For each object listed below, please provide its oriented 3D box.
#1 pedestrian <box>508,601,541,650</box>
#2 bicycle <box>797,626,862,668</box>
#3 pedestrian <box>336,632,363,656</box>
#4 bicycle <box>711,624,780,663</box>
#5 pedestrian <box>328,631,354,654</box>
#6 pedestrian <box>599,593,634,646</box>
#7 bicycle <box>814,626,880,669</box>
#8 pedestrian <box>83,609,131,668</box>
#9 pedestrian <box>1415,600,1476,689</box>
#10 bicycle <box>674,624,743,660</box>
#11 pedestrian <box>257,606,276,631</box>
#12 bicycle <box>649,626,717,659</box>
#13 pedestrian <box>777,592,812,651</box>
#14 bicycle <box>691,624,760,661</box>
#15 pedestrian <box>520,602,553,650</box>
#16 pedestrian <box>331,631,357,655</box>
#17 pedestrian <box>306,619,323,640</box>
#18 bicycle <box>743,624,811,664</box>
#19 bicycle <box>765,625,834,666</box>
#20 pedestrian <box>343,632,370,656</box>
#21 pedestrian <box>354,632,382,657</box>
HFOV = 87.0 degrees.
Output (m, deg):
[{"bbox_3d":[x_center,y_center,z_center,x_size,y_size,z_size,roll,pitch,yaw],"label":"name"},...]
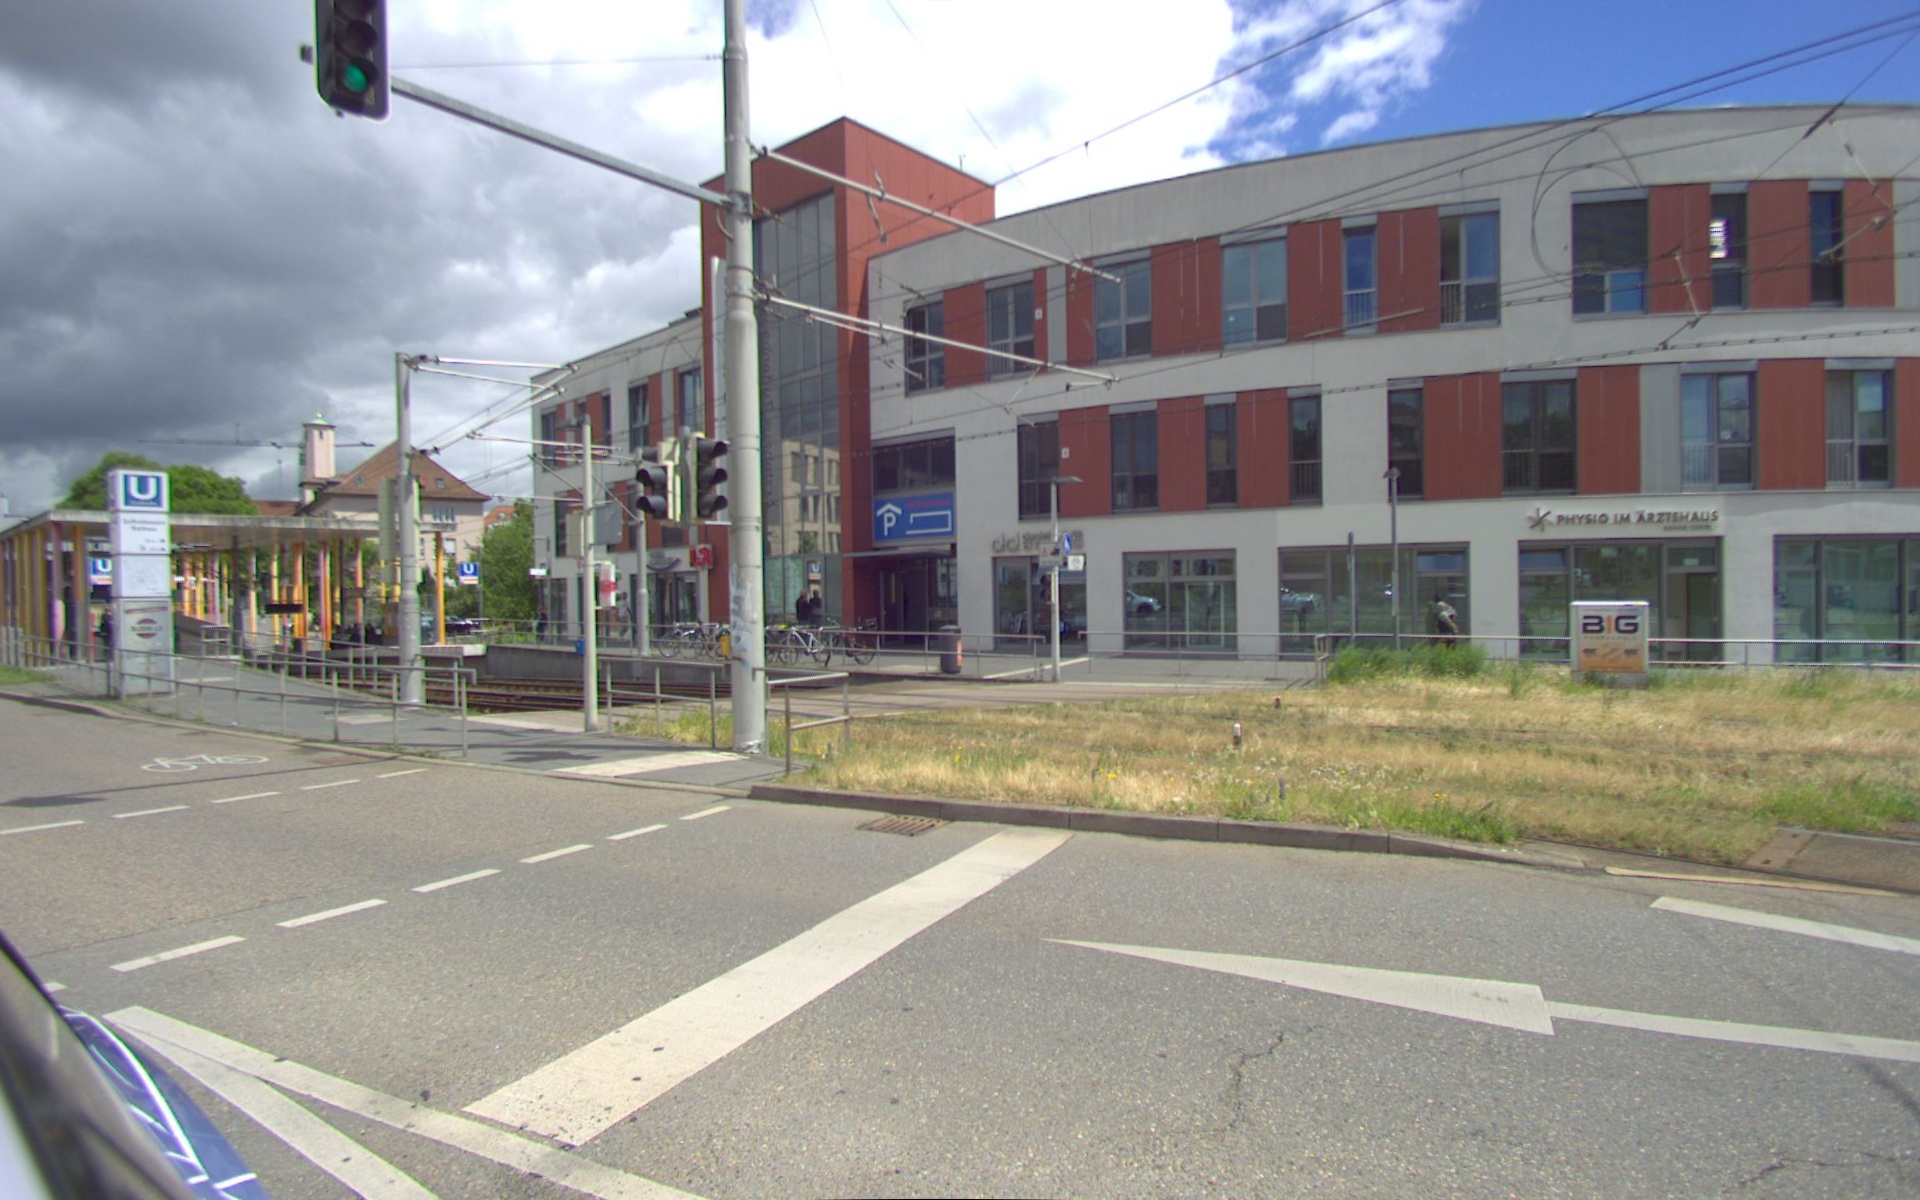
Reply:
[{"bbox_3d":[-18.210,1.056,42.286,1.105,1.983,0.853,0,-1,39],"label":"pedestrian"},{"bbox_3d":[-3.225,1.142,25.076,0.428,0.965,1.716,-1,0,43],"label":"bicycle"},{"bbox_3d":[-30.114,2.141,49.905,0.886,1.143,0.931,-2,-1,42],"label":"pedestrian"},{"bbox_3d":[-5.697,1.143,26.986,1.836,0.946,0.455,0,0,-45],"label":"bicycle"},{"bbox_3d":[-31.307,2.149,51.170,0.886,1.143,0.931,-2,-1,42],"label":"pedestrian"},{"bbox_3d":[-13.299,0.748,39.217,1.106,1.983,0.852,0,-1,43],"label":"pedestrian"},{"bbox_3d":[-2.737,1.143,24.672,0.428,0.959,1.716,-1,0,43],"label":"bicycle"},{"bbox_3d":[-28.268,1.266,33.539,0.864,1.929,1.090,0,-1,42],"label":"pedestrian"},{"bbox_3d":[11.088,1.002,23.149,1.106,1.983,0.860,0,-1,17],"label":"pedestrian"},{"bbox_3d":[-6.982,1.159,28.144,1.835,0.939,0.455,0,0,-41],"label":"bicycle"},{"bbox_3d":[-56.374,1.488,82.243,1.112,2.029,1.180,0,-1,-44],"label":"pedestrian"},{"bbox_3d":[-7.875,1.195,28.832,1.834,0.888,0.455,0,0,-41],"label":"bicycle"},{"bbox_3d":[-5.312,0.669,32.483,0.856,1.859,0.876,0,1,13],"label":"pedestrian"},{"bbox_3d":[-6.370,1.156,27.585,1.835,0.929,0.455,0,0,-42],"label":"bicycle"},{"bbox_3d":[-17.843,1.093,42.602,1.105,1.983,0.853,0,-1,39],"label":"pedestrian"},{"bbox_3d":[-30.804,2.145,50.623,0.886,1.143,0.931,-2,-1,42],"label":"pedestrian"},{"bbox_3d":[-44.987,2.049,70.562,0.901,1.461,0.735,-2,-1,38],"label":"pedestrian"},{"bbox_3d":[-4.739,1.131,26.337,0.454,0.970,1.837,-1,0,43],"label":"bicycle"},{"bbox_3d":[-4.056,1.142,25.702,0.454,0.942,1.837,-1,0,43],"label":"bicycle"},{"bbox_3d":[-29.397,2.138,49.270,0.886,1.143,0.931,-2,-1,42],"label":"pedestrian"},{"bbox_3d":[-28.548,2.139,48.795,0.886,1.143,0.931,-2,-1,42],"label":"pedestrian"}]
